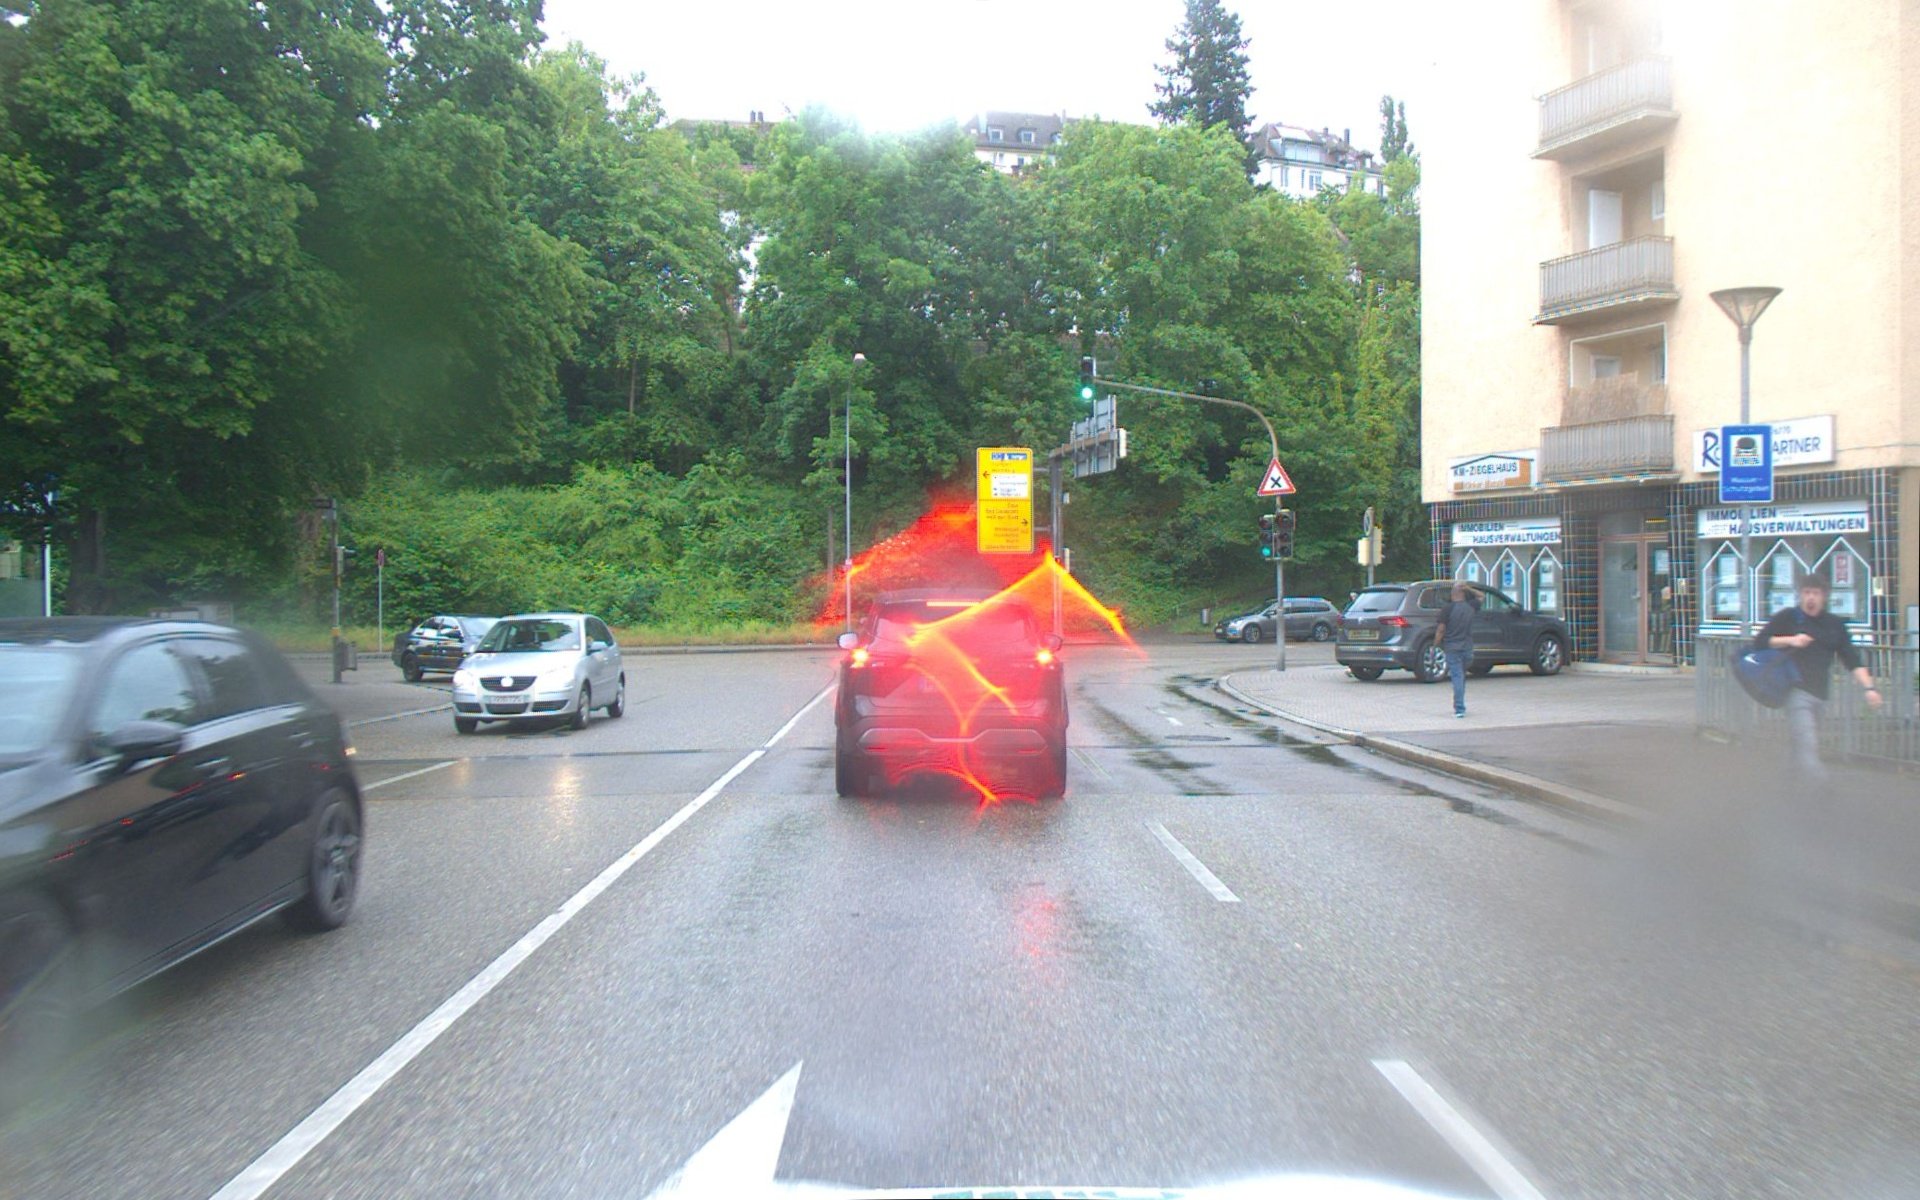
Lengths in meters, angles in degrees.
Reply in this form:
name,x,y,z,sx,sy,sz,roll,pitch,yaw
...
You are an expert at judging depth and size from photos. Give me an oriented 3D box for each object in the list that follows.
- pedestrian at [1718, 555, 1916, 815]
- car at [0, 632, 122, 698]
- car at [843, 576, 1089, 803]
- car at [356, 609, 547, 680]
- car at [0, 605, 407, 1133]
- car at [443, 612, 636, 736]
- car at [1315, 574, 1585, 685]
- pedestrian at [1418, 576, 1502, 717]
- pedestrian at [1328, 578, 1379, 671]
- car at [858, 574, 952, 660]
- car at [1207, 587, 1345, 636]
name,x,y,z,sx,sy,sz,roll,pitch,yaw
pedestrian,5.710,0.543,11.062,0.845,1.647,0.839,-2,0,-1
car,-22.871,1.573,40.151,4.105,1.475,1.817,-1,0,2
car,0.007,0.659,13.972,1.774,1.631,3.999,0,0,-1
car,-11.326,0.990,36.729,4.336,1.485,1.729,-2,-1,34
car,-3.572,0.789,6.159,1.675,1.441,4.093,-2,0,-1
car,-5.414,0.895,21.717,1.593,1.444,3.685,-1,0,0
car,8.390,0.462,28.262,4.315,1.678,1.867,-2,0,-27
pedestrian,6.258,0.563,20.738,0.745,1.706,0.781,-2,1,-1
pedestrian,7.119,0.441,29.952,0.644,1.628,0.795,-2,0,-4
car,-1.090,0.301,33.826,1.774,1.631,3.999,1,1,-1
car,10.811,0.381,56.682,4.249,1.528,1.877,-2,0,-13
